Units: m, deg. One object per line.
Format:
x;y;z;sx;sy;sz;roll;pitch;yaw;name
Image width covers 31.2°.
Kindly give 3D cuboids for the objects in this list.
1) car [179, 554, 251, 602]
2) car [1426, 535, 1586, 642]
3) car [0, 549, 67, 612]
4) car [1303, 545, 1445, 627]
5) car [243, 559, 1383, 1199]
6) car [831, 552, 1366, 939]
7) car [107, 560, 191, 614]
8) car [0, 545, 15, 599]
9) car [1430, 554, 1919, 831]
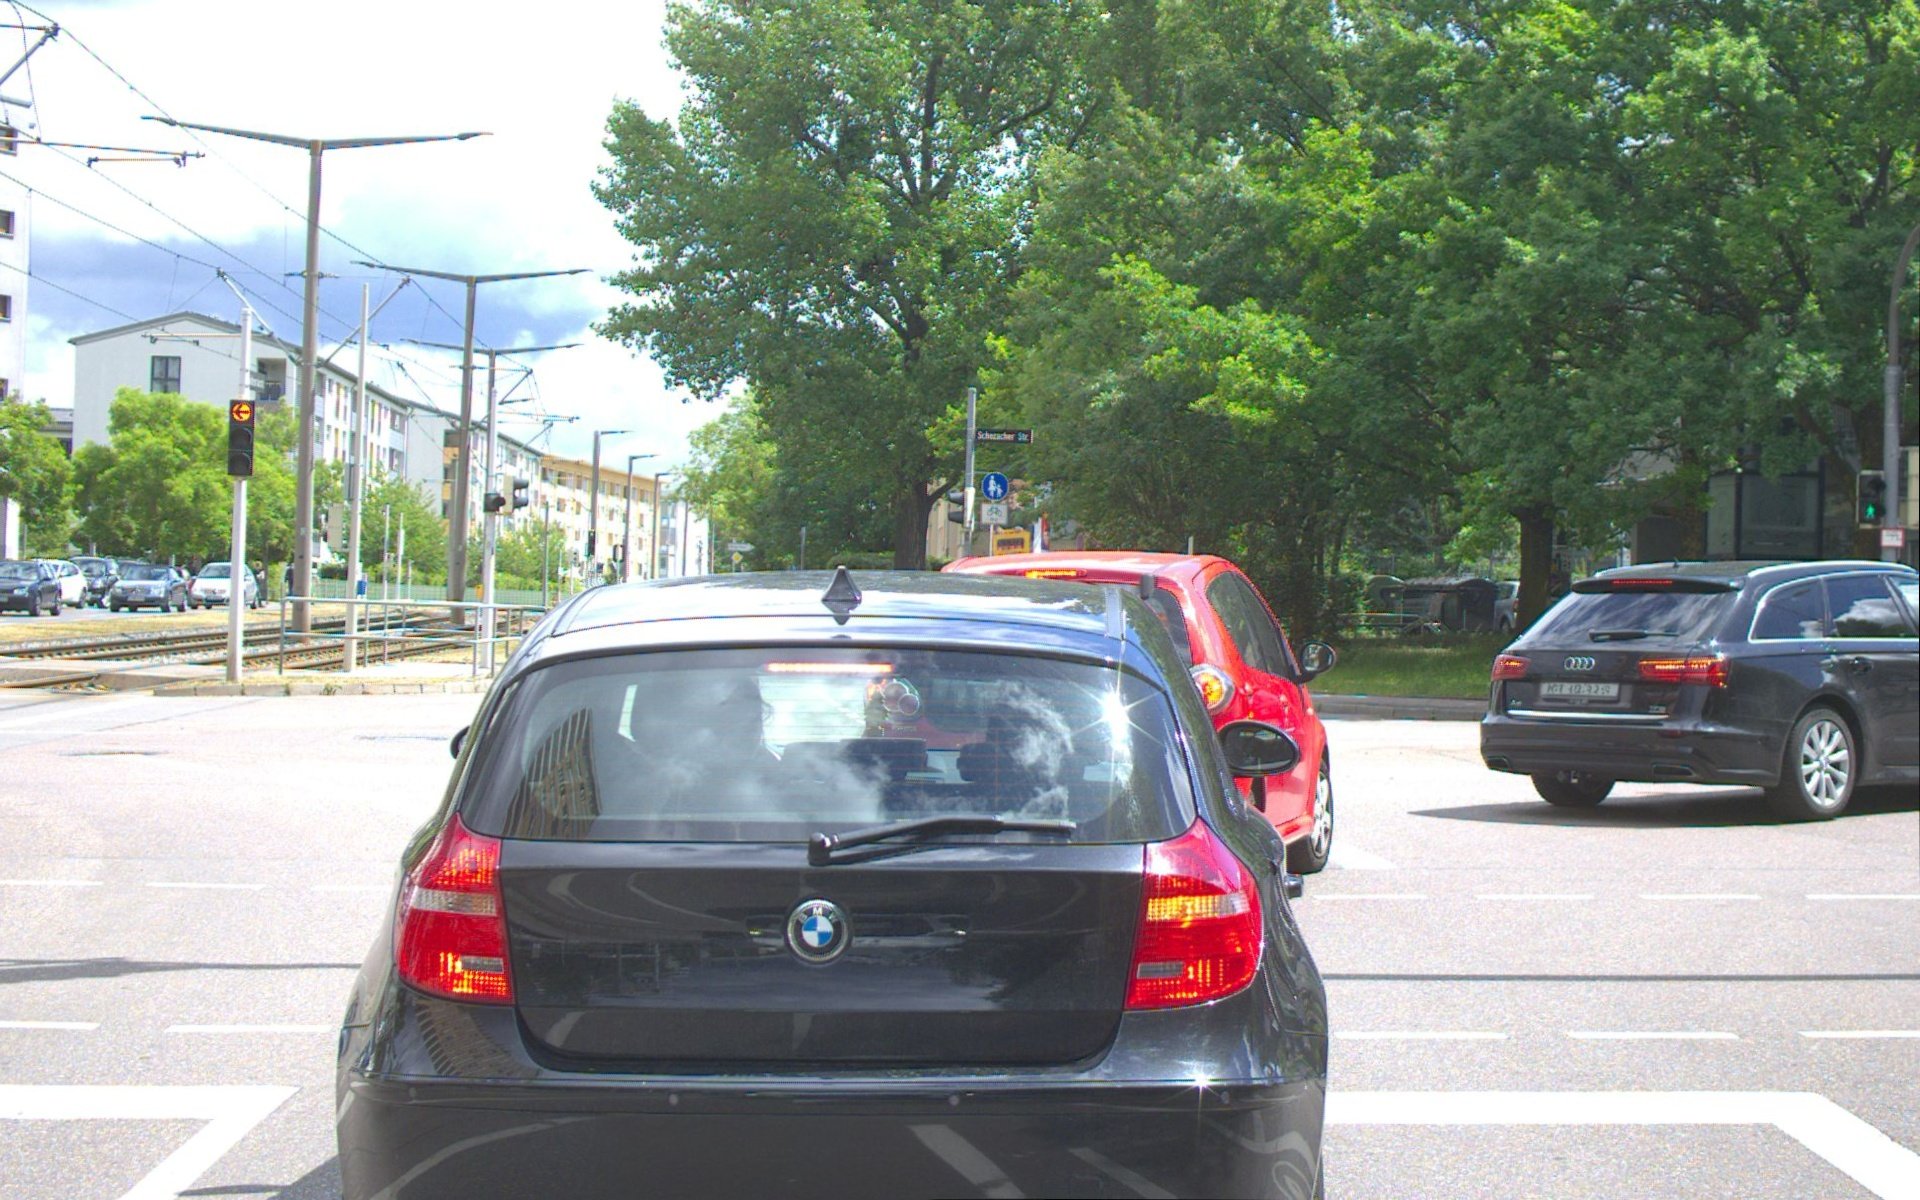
-25.126;-0.759;115.995;1.651;1.529;3.872;1;1;-1;car
9.946;-0.245;62.907;1.726;1.865;4.001;1;1;-8;car
-24.028;-0.517;87.525;1.651;1.529;3.872;1;1;-1;car
8.831;-0.313;73.642;1.862;1.656;4.001;1;1;-11;car
-0.220;0.648;6.873;1.700;1.395;3.420;1;1;0;car
0.704;0.519;14.676;1.639;1.395;3.418;1;1;13;car
-24.028;-0.395;101.948;1.651;1.529;3.872;1;1;-1;car
-27.538;-0.781;95.412;1.591;1.469;3.775;1;1;-1;car
4.976;0.490;20.270;4.526;1.417;1.906;1;1;-43;car
